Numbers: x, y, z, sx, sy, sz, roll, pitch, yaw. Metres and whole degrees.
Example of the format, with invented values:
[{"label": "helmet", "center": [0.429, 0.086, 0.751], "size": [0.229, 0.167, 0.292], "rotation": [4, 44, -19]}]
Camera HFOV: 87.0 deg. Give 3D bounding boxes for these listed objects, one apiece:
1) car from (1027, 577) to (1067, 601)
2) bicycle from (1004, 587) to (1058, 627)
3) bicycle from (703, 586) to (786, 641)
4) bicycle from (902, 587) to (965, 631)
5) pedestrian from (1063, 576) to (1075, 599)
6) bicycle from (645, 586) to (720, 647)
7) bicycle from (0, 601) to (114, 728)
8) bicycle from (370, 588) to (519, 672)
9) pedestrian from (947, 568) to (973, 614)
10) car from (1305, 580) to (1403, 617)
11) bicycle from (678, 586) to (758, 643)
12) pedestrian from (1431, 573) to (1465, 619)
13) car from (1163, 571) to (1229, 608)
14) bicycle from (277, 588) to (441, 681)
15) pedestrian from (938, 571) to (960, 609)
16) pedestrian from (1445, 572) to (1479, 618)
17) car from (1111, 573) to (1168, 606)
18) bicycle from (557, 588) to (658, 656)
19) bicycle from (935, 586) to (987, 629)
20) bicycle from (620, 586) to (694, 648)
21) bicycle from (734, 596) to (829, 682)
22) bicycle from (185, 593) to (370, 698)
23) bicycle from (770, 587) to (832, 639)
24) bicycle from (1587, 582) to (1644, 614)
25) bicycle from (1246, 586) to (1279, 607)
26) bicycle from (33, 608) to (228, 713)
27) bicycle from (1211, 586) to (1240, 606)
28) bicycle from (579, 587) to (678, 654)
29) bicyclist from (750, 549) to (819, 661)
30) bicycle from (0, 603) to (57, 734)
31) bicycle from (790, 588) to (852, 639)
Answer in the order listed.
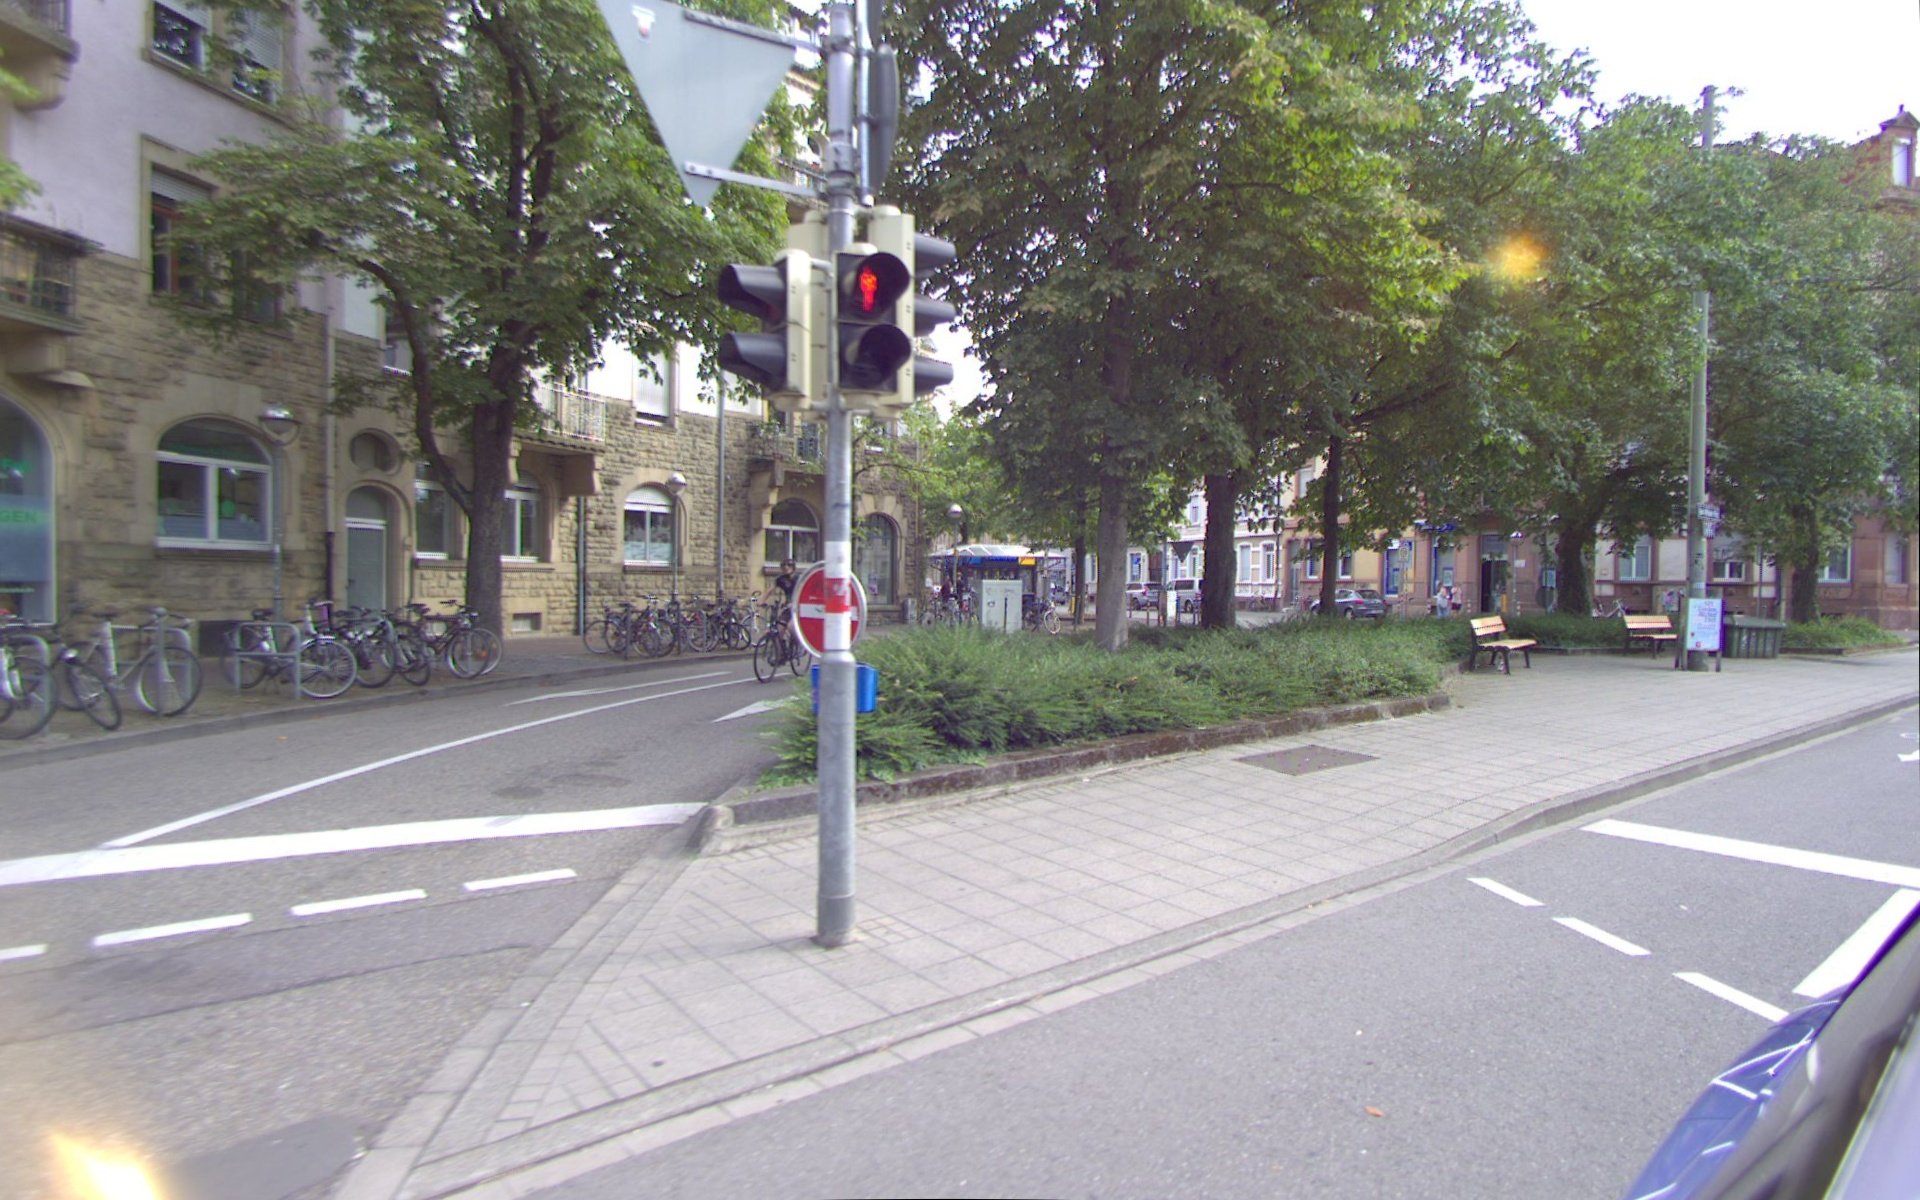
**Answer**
[{"label": "car", "center": [6.738, -0.883, 78.671], "size": [1.780, 1.771, 4.009], "rotation": [0, 1, -16]}, {"label": "bicycle", "center": [2.121, 0.197, 30.500], "size": [0.523, 1.142, 1.893], "rotation": [0, 1, -36]}, {"label": "bicycle", "center": [-4.749, 0.278, 22.219], "size": [1.878, 1.142, 0.588], "rotation": [1, 1, 30]}, {"label": "bicycle", "center": [-0.750, 0.227, 27.872], "size": [1.886, 1.142, 0.525], "rotation": [2, 1, 42]}, {"label": "pedestrian", "center": [8.693, -0.992, 80.826], "size": [0.633, 1.776, 0.734], "rotation": [1, 1, -16]}, {"label": "bicycle", "center": [-5.614, 0.306, 20.391], "size": [1.888, 1.142, 0.589], "rotation": [2, 1, 44]}, {"label": "bicycle", "center": [-8.510, 0.557, 9.047], "size": [1.620, 1.068, 0.449], "rotation": [1, 1, 5]}, {"label": "bicycle", "center": [-7.443, 0.418, 14.655], "size": [1.860, 1.142, 0.667], "rotation": [1, 1, 5]}, {"label": "pedestrian", "center": [0.013, -0.336, 37.469], "size": [0.717, 1.696, 0.837], "rotation": [1, 1, -18]}, {"label": "car", "center": [16.764, -0.097, 43.264], "size": [1.780, 1.459, 4.009], "rotation": [0, 1, -16]}, {"label": "bicycle", "center": [-5.153, 0.287, 21.516], "size": [1.882, 1.142, 0.575], "rotation": [2, 1, 36]}, {"label": "pedestrian", "center": [19.008, -0.170, 39.414], "size": [0.875, 1.750, 0.734], "rotation": [2, 2, -5]}, {"label": "car", "center": [13.242, -0.605, 57.032], "size": [1.829, 2.005, 4.009], "rotation": [0, 1, -16]}, {"label": "bicycle", "center": [-7.755, 0.429, 13.076], "size": [1.860, 1.142, 0.532], "rotation": [1, 1, 5]}, {"label": "pedestrian", "center": [-0.471, -0.430, 44.327], "size": [0.717, 1.643, 0.837], "rotation": [1, 1, -18]}, {"label": "pedestrian", "center": [19.848, -0.209, 40.043], "size": [0.741, 1.750, 0.895], "rotation": [1, 2, -14]}, {"label": "car", "center": [11.106, -0.674, 62.727], "size": [1.780, 1.967, 4.165], "rotation": [0, 1, -16]}, {"label": "bicycle", "center": [-6.504, 0.381, 18.660], "size": [1.872, 1.142, 0.529], "rotation": [2, 1, 22]}, {"label": "bicycle", "center": [0.017, 0.195, 28.328], "size": [0.522, 1.142, 1.895], "rotation": [0, 1, -32]}, {"label": "bicycle", "center": [-5.982, 0.314, 19.923], "size": [1.888, 1.142, 0.554], "rotation": [2, 1, 44]}, {"label": "bicycle", "center": [-2.670, 0.545, 15.347], "size": [0.645, 1.166, 2.095], "rotation": [1, 1, 13]}, {"label": "bicycle", "center": [-7.893, 0.510, 11.726], "size": [1.860, 1.142, 0.532], "rotation": [1, 1, 5]}, {"label": "bicycle", "center": [-3.752, 0.289, 23.833], "size": [0.523, 1.142, 1.891], "rotation": [0, 1, -41]}, {"label": "bicycle", "center": [24.392, -0.087, 37.675], "size": [1.667, 1.158, 0.662], "rotation": [2, 2, 44]}, {"label": "bicycle", "center": [16.607, -0.199, 55.606], "size": [0.659, 1.135, 1.944], "rotation": [1, 1, -19]}, {"label": "bicycle", "center": [-8.353, 0.591, 10.214], "size": [1.620, 0.984, 0.532], "rotation": [1, 1, 5]}, {"label": "bicycle", "center": [15.571, -0.240, 59.430], "size": [0.659, 1.135, 1.944], "rotation": [1, 1, -19]}, {"label": "bicycle", "center": [-6.284, 0.365, 19.162], "size": [1.872, 1.142, 0.529], "rotation": [3, 2, 22]}, {"label": "bicyclist", "center": [-2.651, 0.056, 15.387], "size": [0.637, 1.626, 1.135], "rotation": [1, 1, 13]}, {"label": "bicycle", "center": [-8.712, 0.564, 8.691], "size": [1.620, 1.068, 0.449], "rotation": [1, 1, 5]}, {"label": "bicycle", "center": [-3.350, 0.291, 24.253], "size": [0.523, 1.142, 1.891], "rotation": [0, 1, -41]}]
